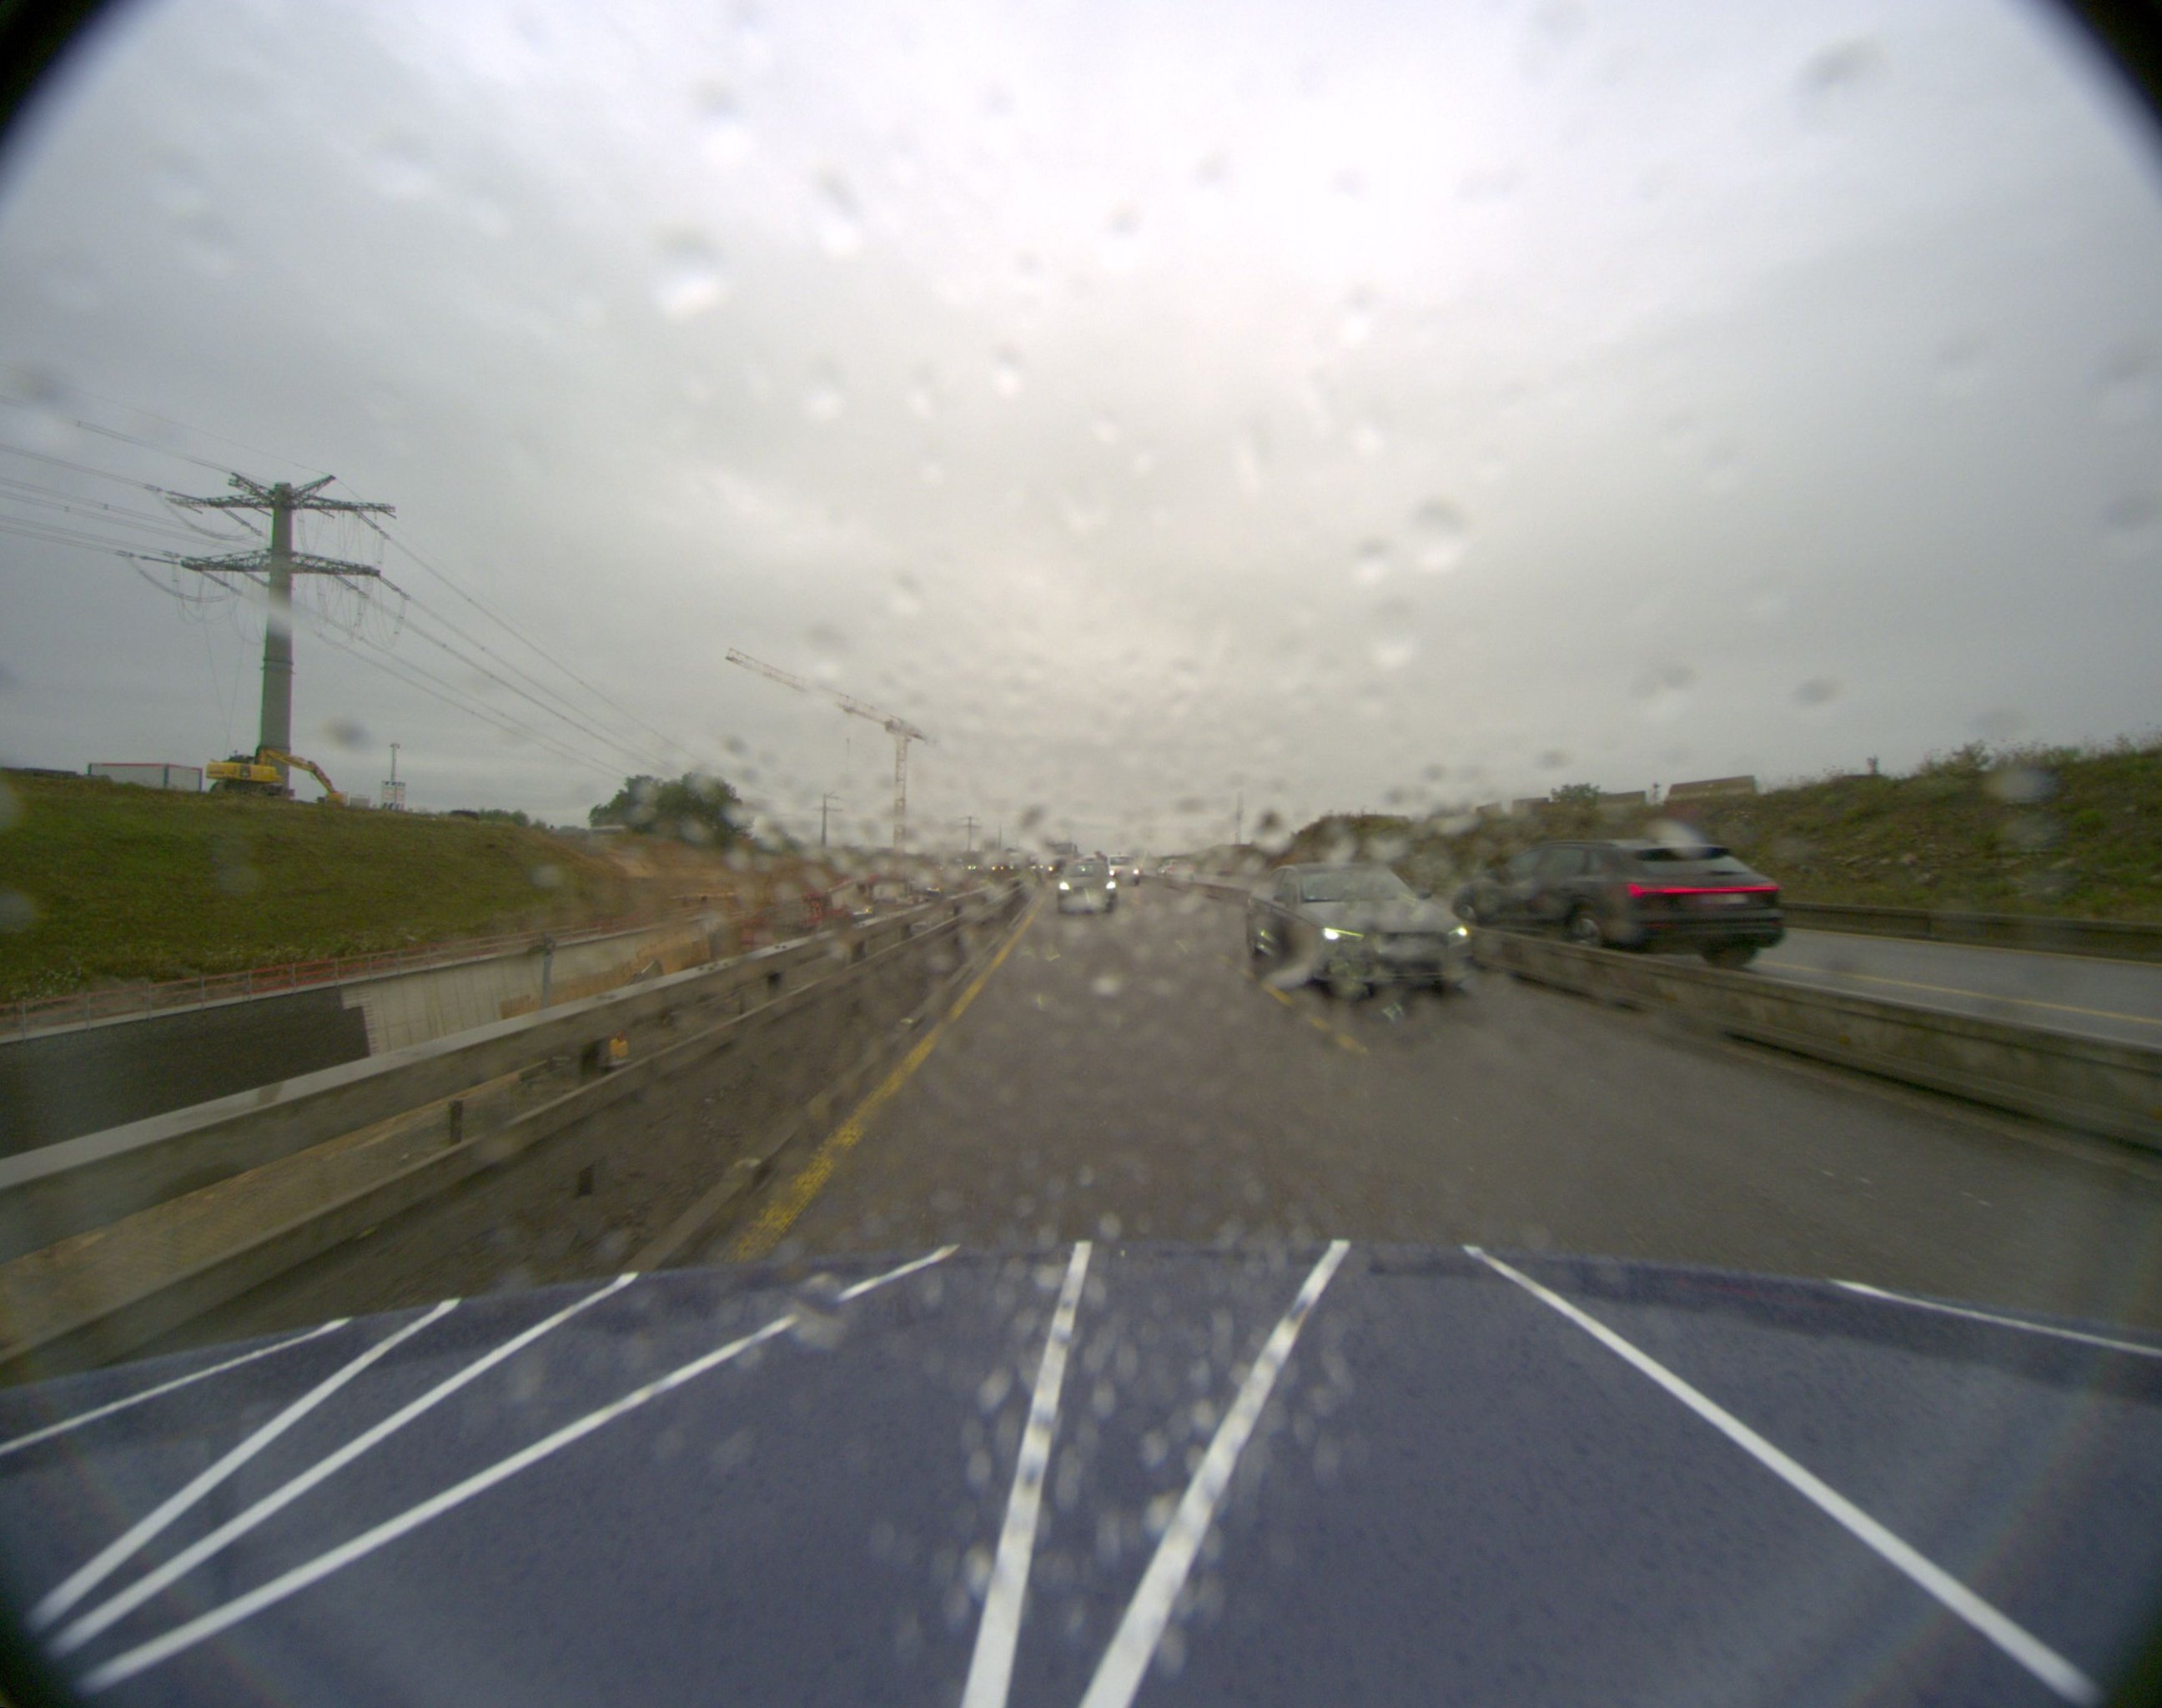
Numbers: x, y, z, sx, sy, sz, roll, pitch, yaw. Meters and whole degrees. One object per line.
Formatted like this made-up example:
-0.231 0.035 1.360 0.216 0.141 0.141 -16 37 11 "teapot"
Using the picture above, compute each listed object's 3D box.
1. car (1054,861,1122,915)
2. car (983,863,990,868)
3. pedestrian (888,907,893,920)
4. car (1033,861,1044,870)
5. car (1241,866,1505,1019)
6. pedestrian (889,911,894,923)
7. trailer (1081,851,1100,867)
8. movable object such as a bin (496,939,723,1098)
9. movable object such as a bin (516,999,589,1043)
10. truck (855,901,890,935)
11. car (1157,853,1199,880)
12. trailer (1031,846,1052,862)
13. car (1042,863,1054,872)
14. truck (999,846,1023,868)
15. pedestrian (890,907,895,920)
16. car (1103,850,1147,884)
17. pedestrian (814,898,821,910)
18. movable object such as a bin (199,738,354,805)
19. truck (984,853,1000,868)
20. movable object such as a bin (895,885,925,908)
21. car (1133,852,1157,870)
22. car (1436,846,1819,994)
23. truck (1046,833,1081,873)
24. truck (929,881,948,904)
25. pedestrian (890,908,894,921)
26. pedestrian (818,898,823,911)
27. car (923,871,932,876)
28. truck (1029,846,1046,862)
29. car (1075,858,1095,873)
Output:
0.160 0.989 23.778 1.874 1.481 4.260 -2 0 -1 "car"
-28.393 3.414 228.387 1.790 1.418 3.997 -3 0 -8 "car"
-28.611 8.924 113.995 0.603 1.759 0.481 2 0 -8 "pedestrian"
-8.501 2.237 152.076 1.791 1.646 3.996 -3 0 -10 "car"
3.310 0.915 9.546 1.804 1.375 4.088 -2 0 1 "car"
-28.549 9.498 114.534 0.603 1.894 0.614 0 1 -8 "pedestrian"
1.556 0.816 128.556 2.517 2.549 7.160 -3 0 -4 "trailer"
-25.672 8.669 42.904 4.906 5.639 12.083 -4 3 -1 "movable object such as a bin"
-34.235 10.801 49.372 2.524 1.900 3.255 -4 1 -6 "movable object such as a bin"
-27.266 8.312 99.606 2.711 3.591 9.069 0 1 -4 "truck"
6.395 0.778 50.540 2.051 1.623 4.989 -2 0 -1 "car"
-10.288 0.005 195.893 3.267 3.941 11.522 -2 0 -14 "trailer"
-5.913 2.468 136.671 1.790 1.418 3.997 -3 0 -8 "car"
-14.851 0.595 160.647 4.321 4.319 13.398 -3 0 -8 "truck"
-28.776 9.040 115.871 0.603 1.894 0.481 1 1 -8 "pedestrian"
2.633 0.727 46.998 2.070 1.933 5.154 -2 0 -4 "car"
-41.157 7.796 118.753 0.488 1.793 0.583 -5 2 33 "pedestrian"
-61.522 -6.158 58.499 3.107 4.181 8.178 -1 0 0 "movable object such as a bin"
-24.261 1.677 206.944 3.548 3.870 8.328 -3 0 -10 "truck"
-29.875 7.381 132.982 3.517 3.405 6.651 -2 1 1 "movable object such as a bin"
6.084 0.667 72.326 1.732 1.568 3.720 -2 0 -3 "car"
7.006 0.700 10.600 1.816 1.584 4.901 0 0 0 "car"
-1.802 -0.098 72.893 2.857 3.462 8.640 -2 0 -4 "truck"
-26.279 7.073 140.315 3.364 3.521 8.896 -1 2 -10 "truck"
-28.648 9.167 115.209 0.603 1.894 0.481 0 1 -8 "pedestrian"
-41.205 8.005 120.135 0.489 2.087 0.481 -7 2 -8 "pedestrian"
-49.189 6.213 243.383 2.352 1.608 4.855 -1 0 -9 "car"
-11.586 0.038 201.009 3.243 3.932 5.874 -2 0 -14 "truck"
0.428 1.327 89.228 1.790 1.744 3.998 -3 0 -6 "car"
